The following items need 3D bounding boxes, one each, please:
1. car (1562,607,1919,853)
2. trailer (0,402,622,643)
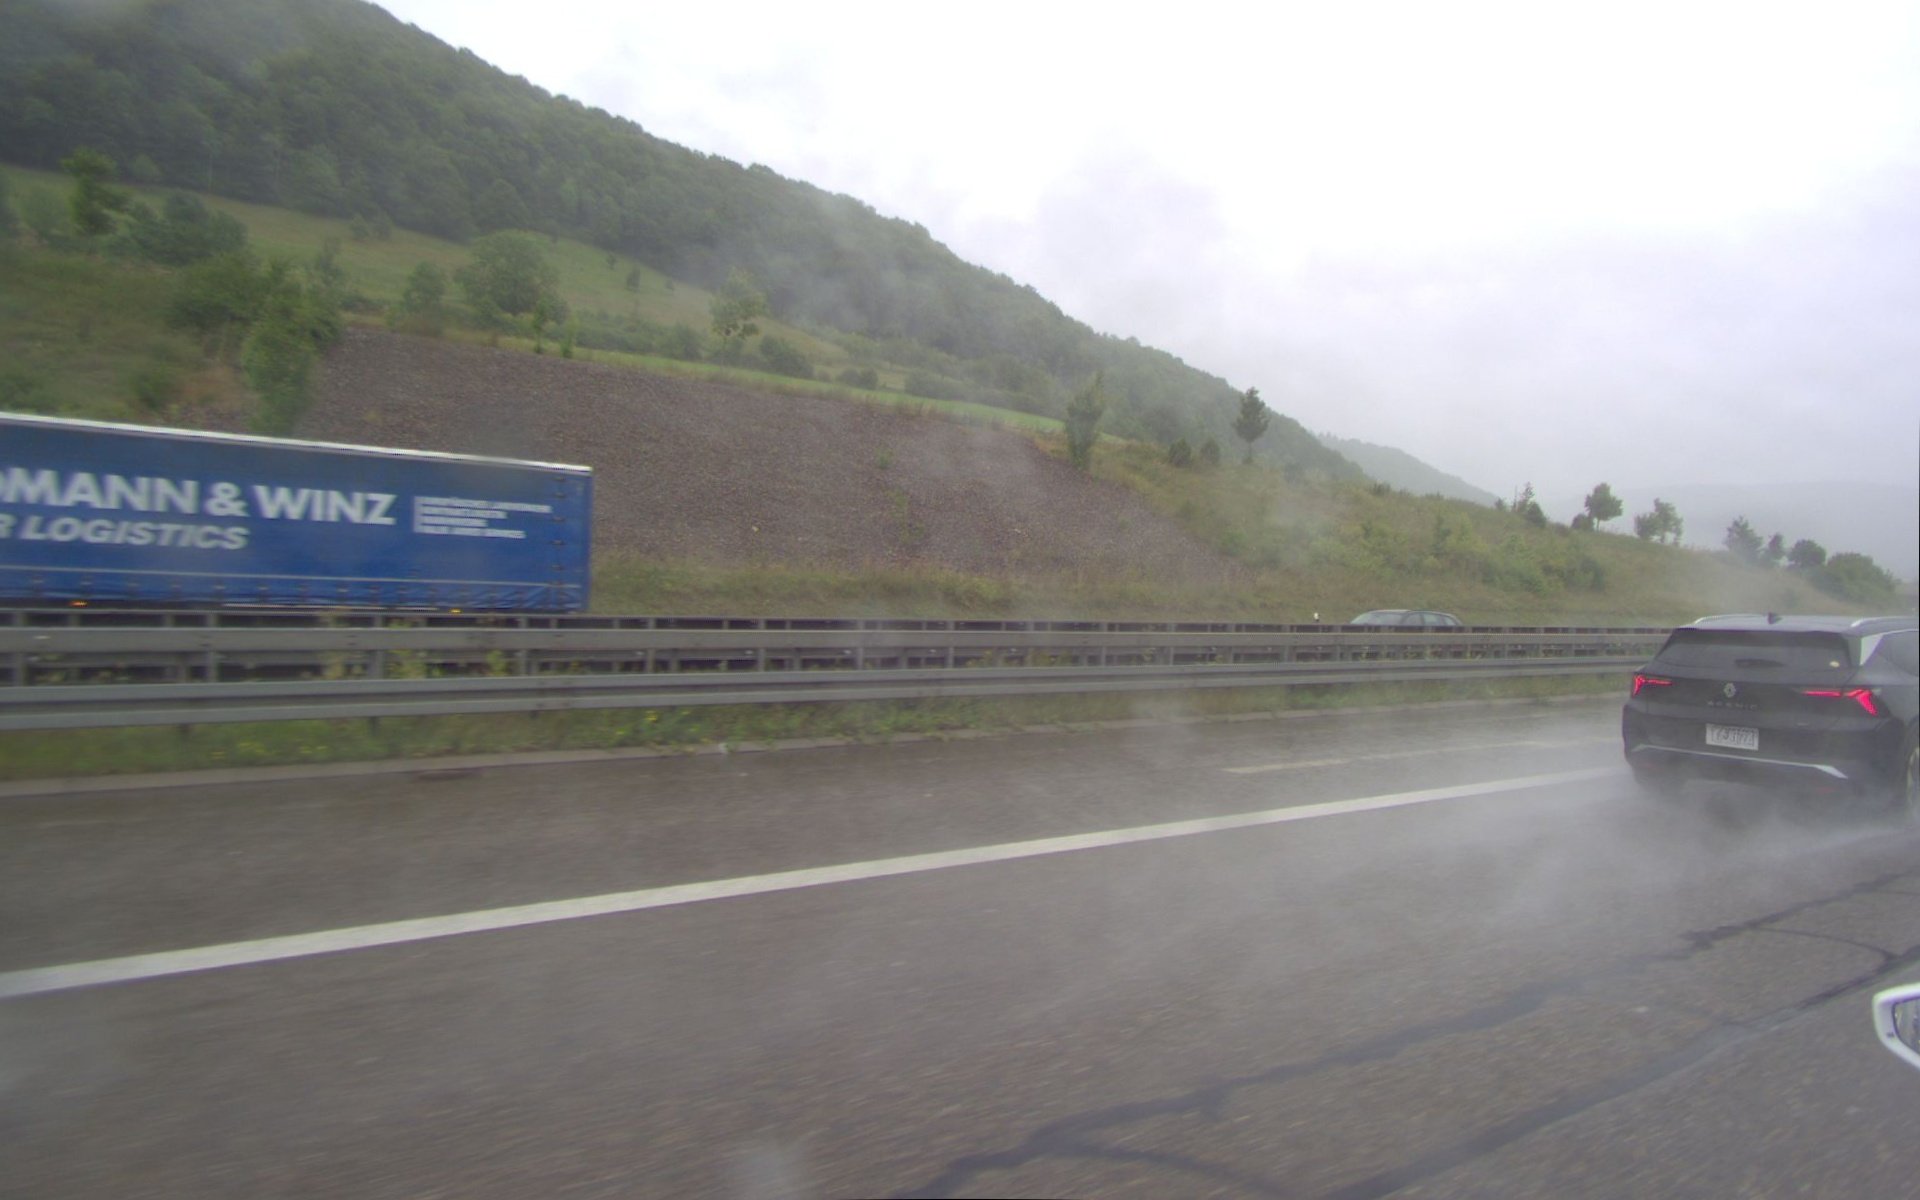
[{"bbox_3d":[7.828,0.918,8.770,4.727,1.536,2.394,2,1,-30],"label":"car"},{"bbox_3d":[-13.183,-1.152,18.194,13.095,3.730,2.799,1,0,-31],"label":"trailer"}]
